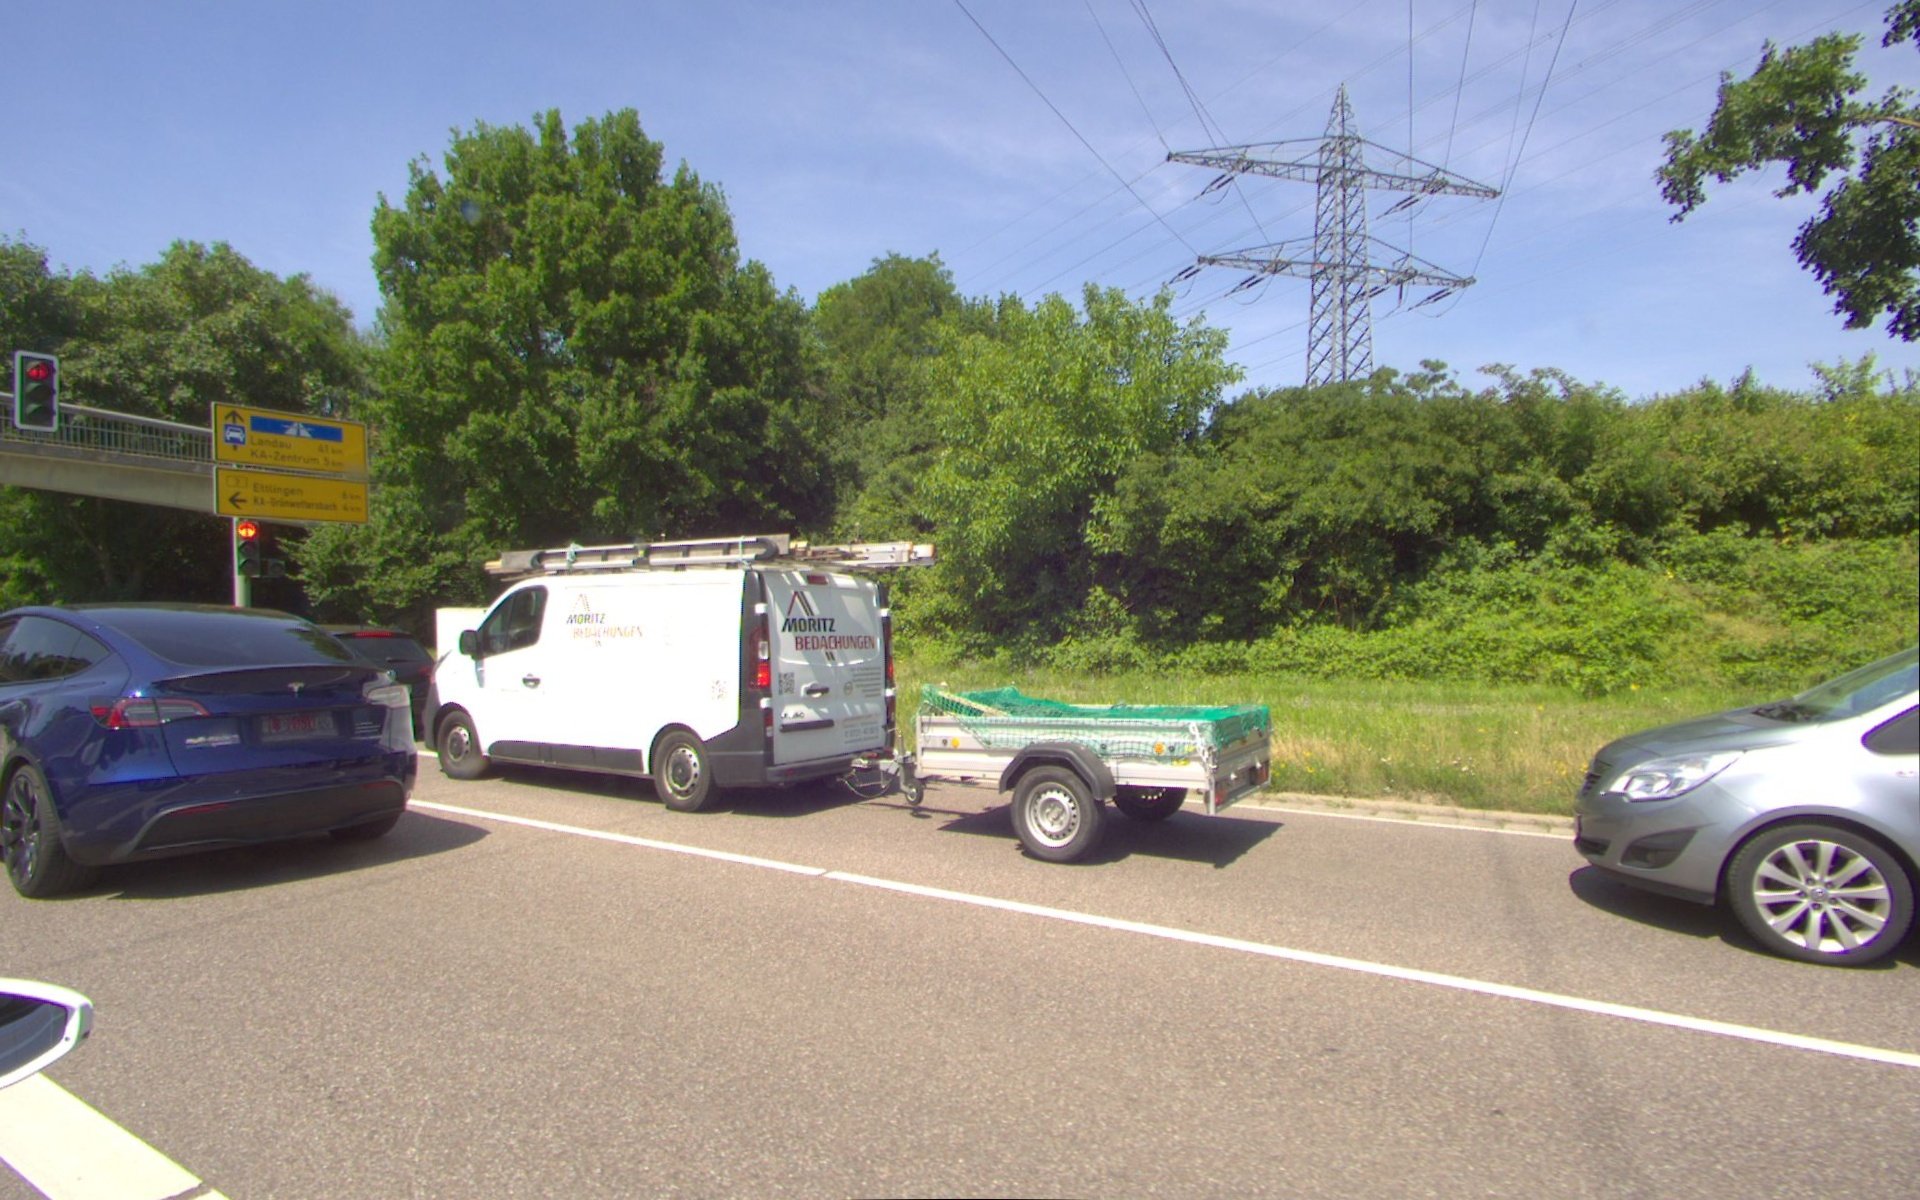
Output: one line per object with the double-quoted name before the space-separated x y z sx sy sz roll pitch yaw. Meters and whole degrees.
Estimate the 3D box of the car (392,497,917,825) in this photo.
"car" -3.004 0.487 9.427 5.002 2.379 1.929 -1 -1 32

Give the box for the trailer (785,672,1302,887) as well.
"trailer" 0.554 1.105 7.136 3.276 1.019 1.703 0 -1 32

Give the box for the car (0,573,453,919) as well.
"car" -5.645 0.742 6.833 4.455 1.665 1.897 0 -1 33

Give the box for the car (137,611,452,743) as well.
"car" -8.878 0.910 13.267 4.318 1.497 1.897 0 -1 33

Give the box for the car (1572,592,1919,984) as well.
"car" 5.122 0.777 4.428 4.105 1.617 1.761 0 0 33

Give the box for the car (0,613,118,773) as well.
"car" -10.652 0.878 10.355 3.883 1.497 1.897 0 -1 32
